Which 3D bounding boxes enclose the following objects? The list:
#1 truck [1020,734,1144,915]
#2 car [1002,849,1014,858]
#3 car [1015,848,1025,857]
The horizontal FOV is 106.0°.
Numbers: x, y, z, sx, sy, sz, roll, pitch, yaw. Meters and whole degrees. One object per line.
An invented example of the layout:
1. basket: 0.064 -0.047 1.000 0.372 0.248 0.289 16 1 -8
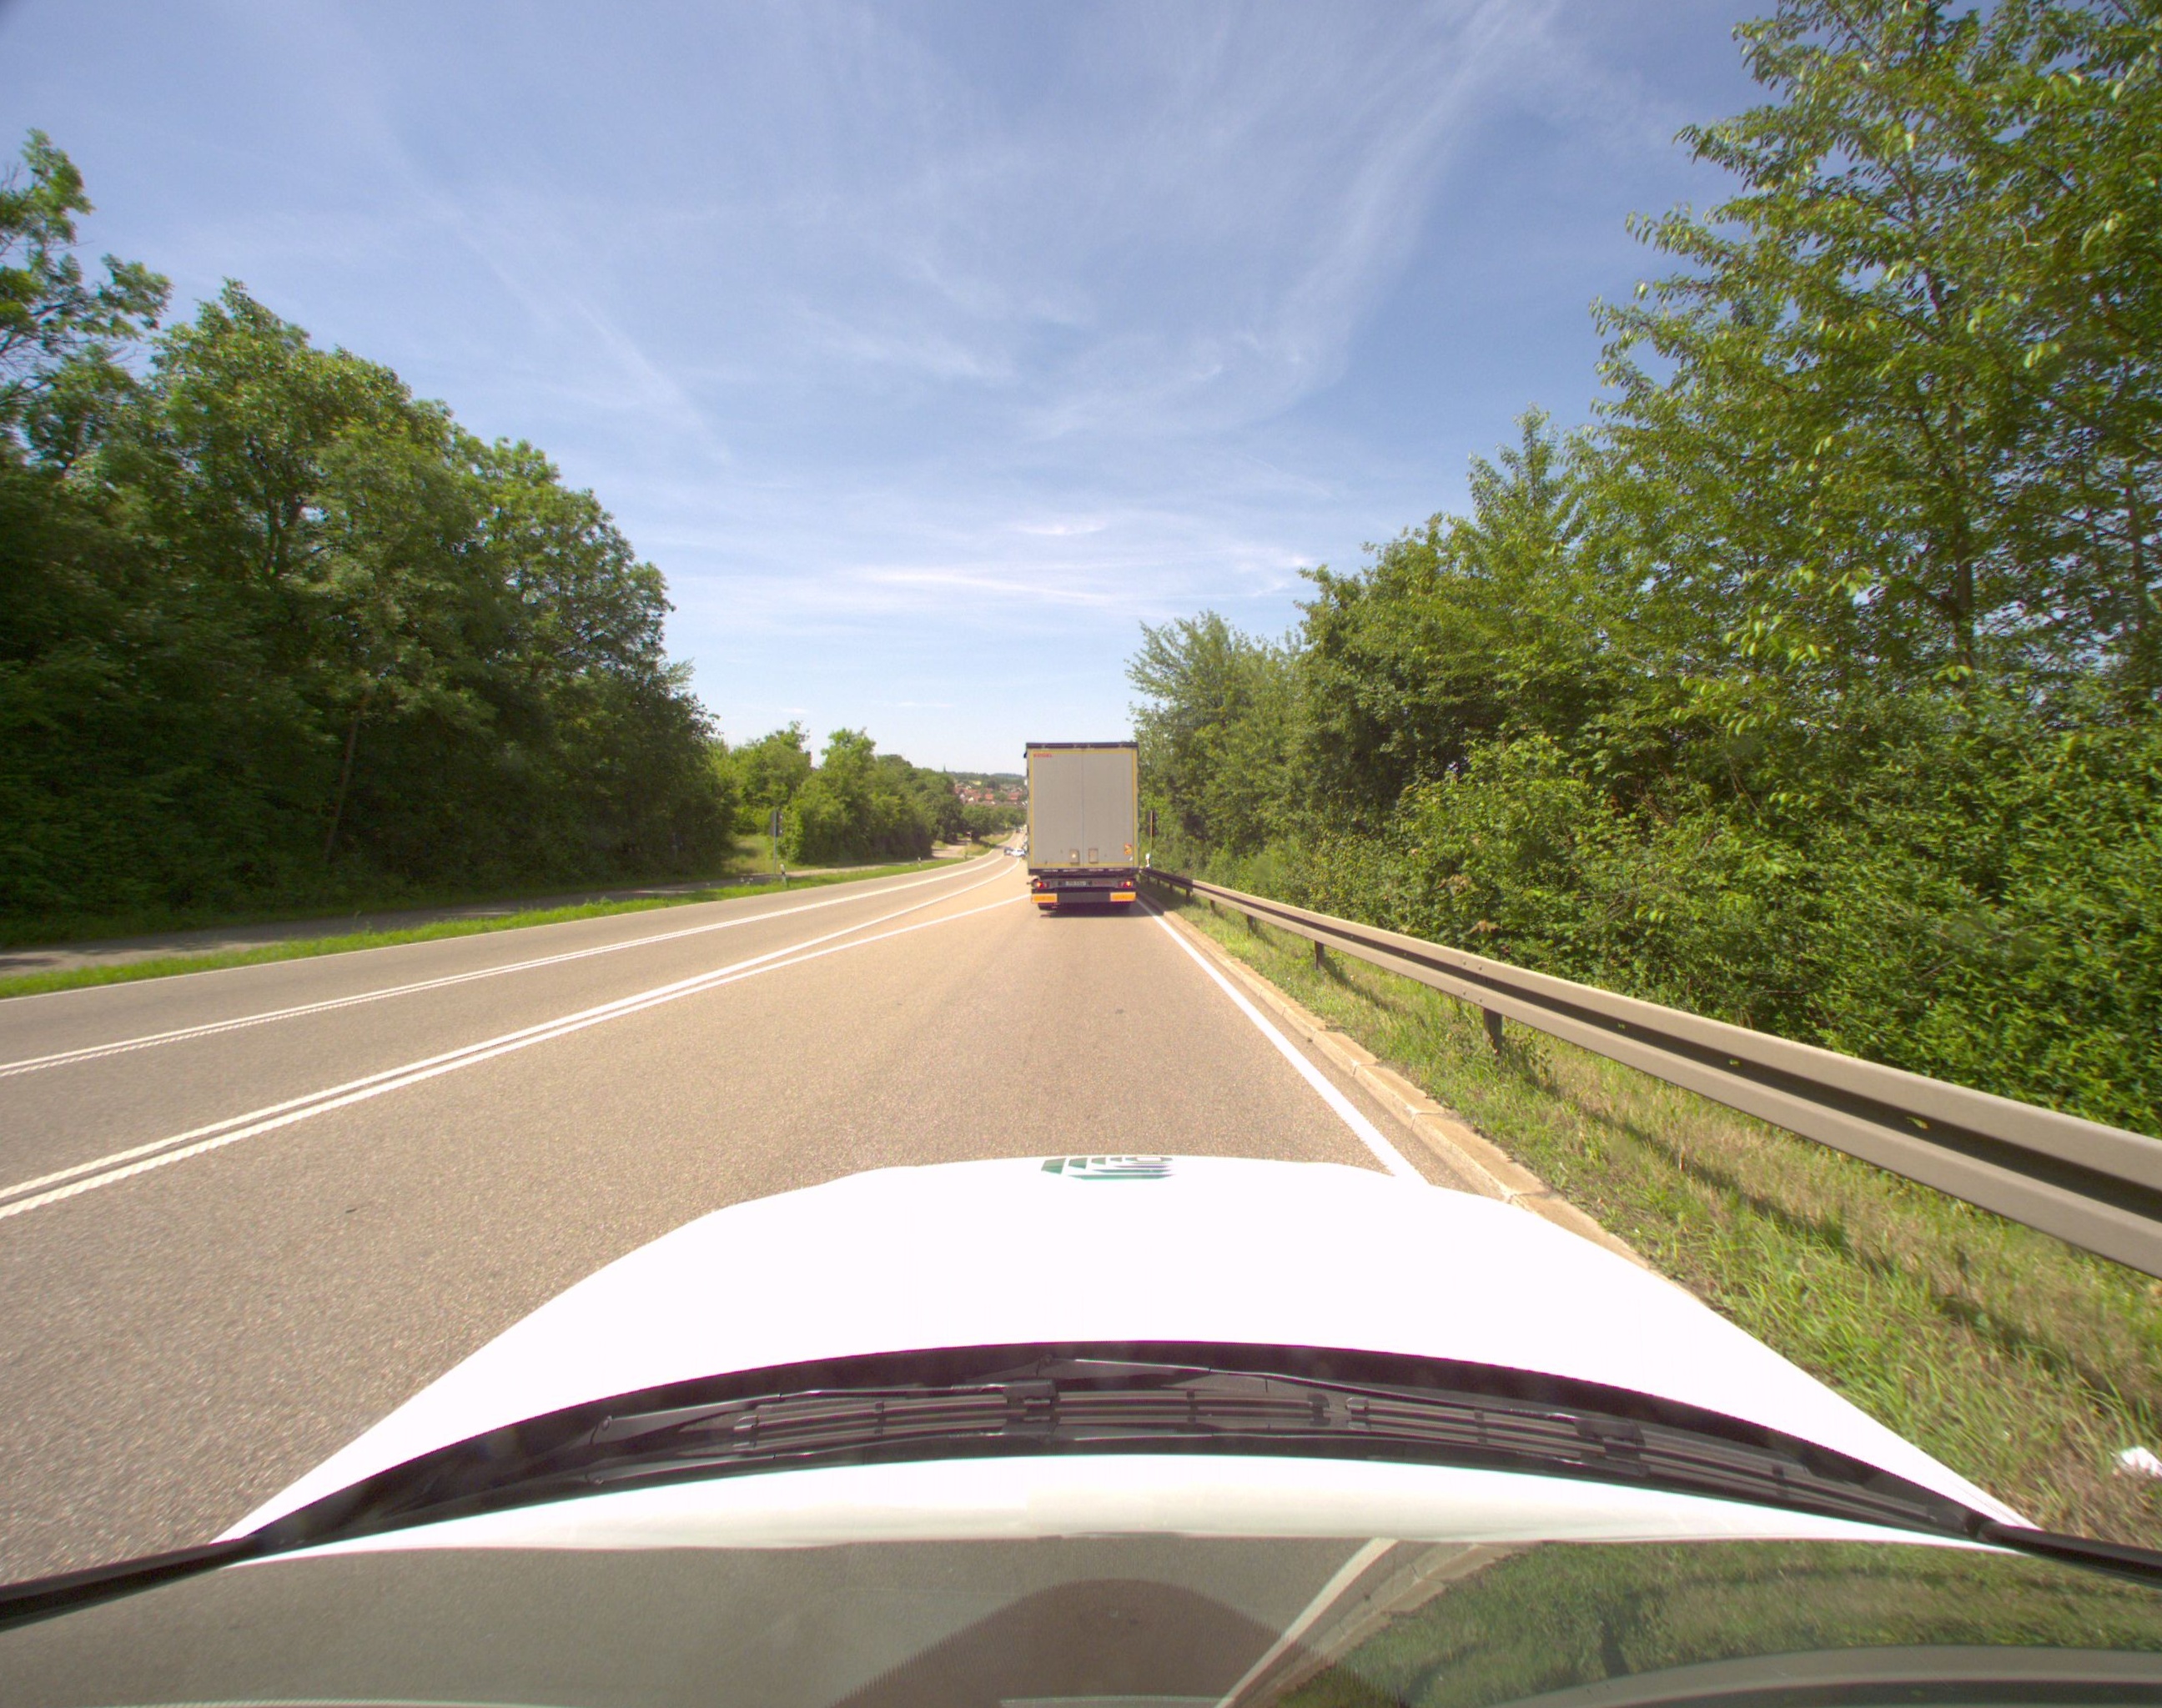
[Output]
1. truck: 0.121 -0.700 24.263 2.747 4.029 11.926 -1 0 1
2. car: -15.502 -0.165 172.593 1.808 1.794 3.823 0 0 -14
3. car: -11.911 -0.296 158.813 1.526 1.794 3.387 0 -1 -14
